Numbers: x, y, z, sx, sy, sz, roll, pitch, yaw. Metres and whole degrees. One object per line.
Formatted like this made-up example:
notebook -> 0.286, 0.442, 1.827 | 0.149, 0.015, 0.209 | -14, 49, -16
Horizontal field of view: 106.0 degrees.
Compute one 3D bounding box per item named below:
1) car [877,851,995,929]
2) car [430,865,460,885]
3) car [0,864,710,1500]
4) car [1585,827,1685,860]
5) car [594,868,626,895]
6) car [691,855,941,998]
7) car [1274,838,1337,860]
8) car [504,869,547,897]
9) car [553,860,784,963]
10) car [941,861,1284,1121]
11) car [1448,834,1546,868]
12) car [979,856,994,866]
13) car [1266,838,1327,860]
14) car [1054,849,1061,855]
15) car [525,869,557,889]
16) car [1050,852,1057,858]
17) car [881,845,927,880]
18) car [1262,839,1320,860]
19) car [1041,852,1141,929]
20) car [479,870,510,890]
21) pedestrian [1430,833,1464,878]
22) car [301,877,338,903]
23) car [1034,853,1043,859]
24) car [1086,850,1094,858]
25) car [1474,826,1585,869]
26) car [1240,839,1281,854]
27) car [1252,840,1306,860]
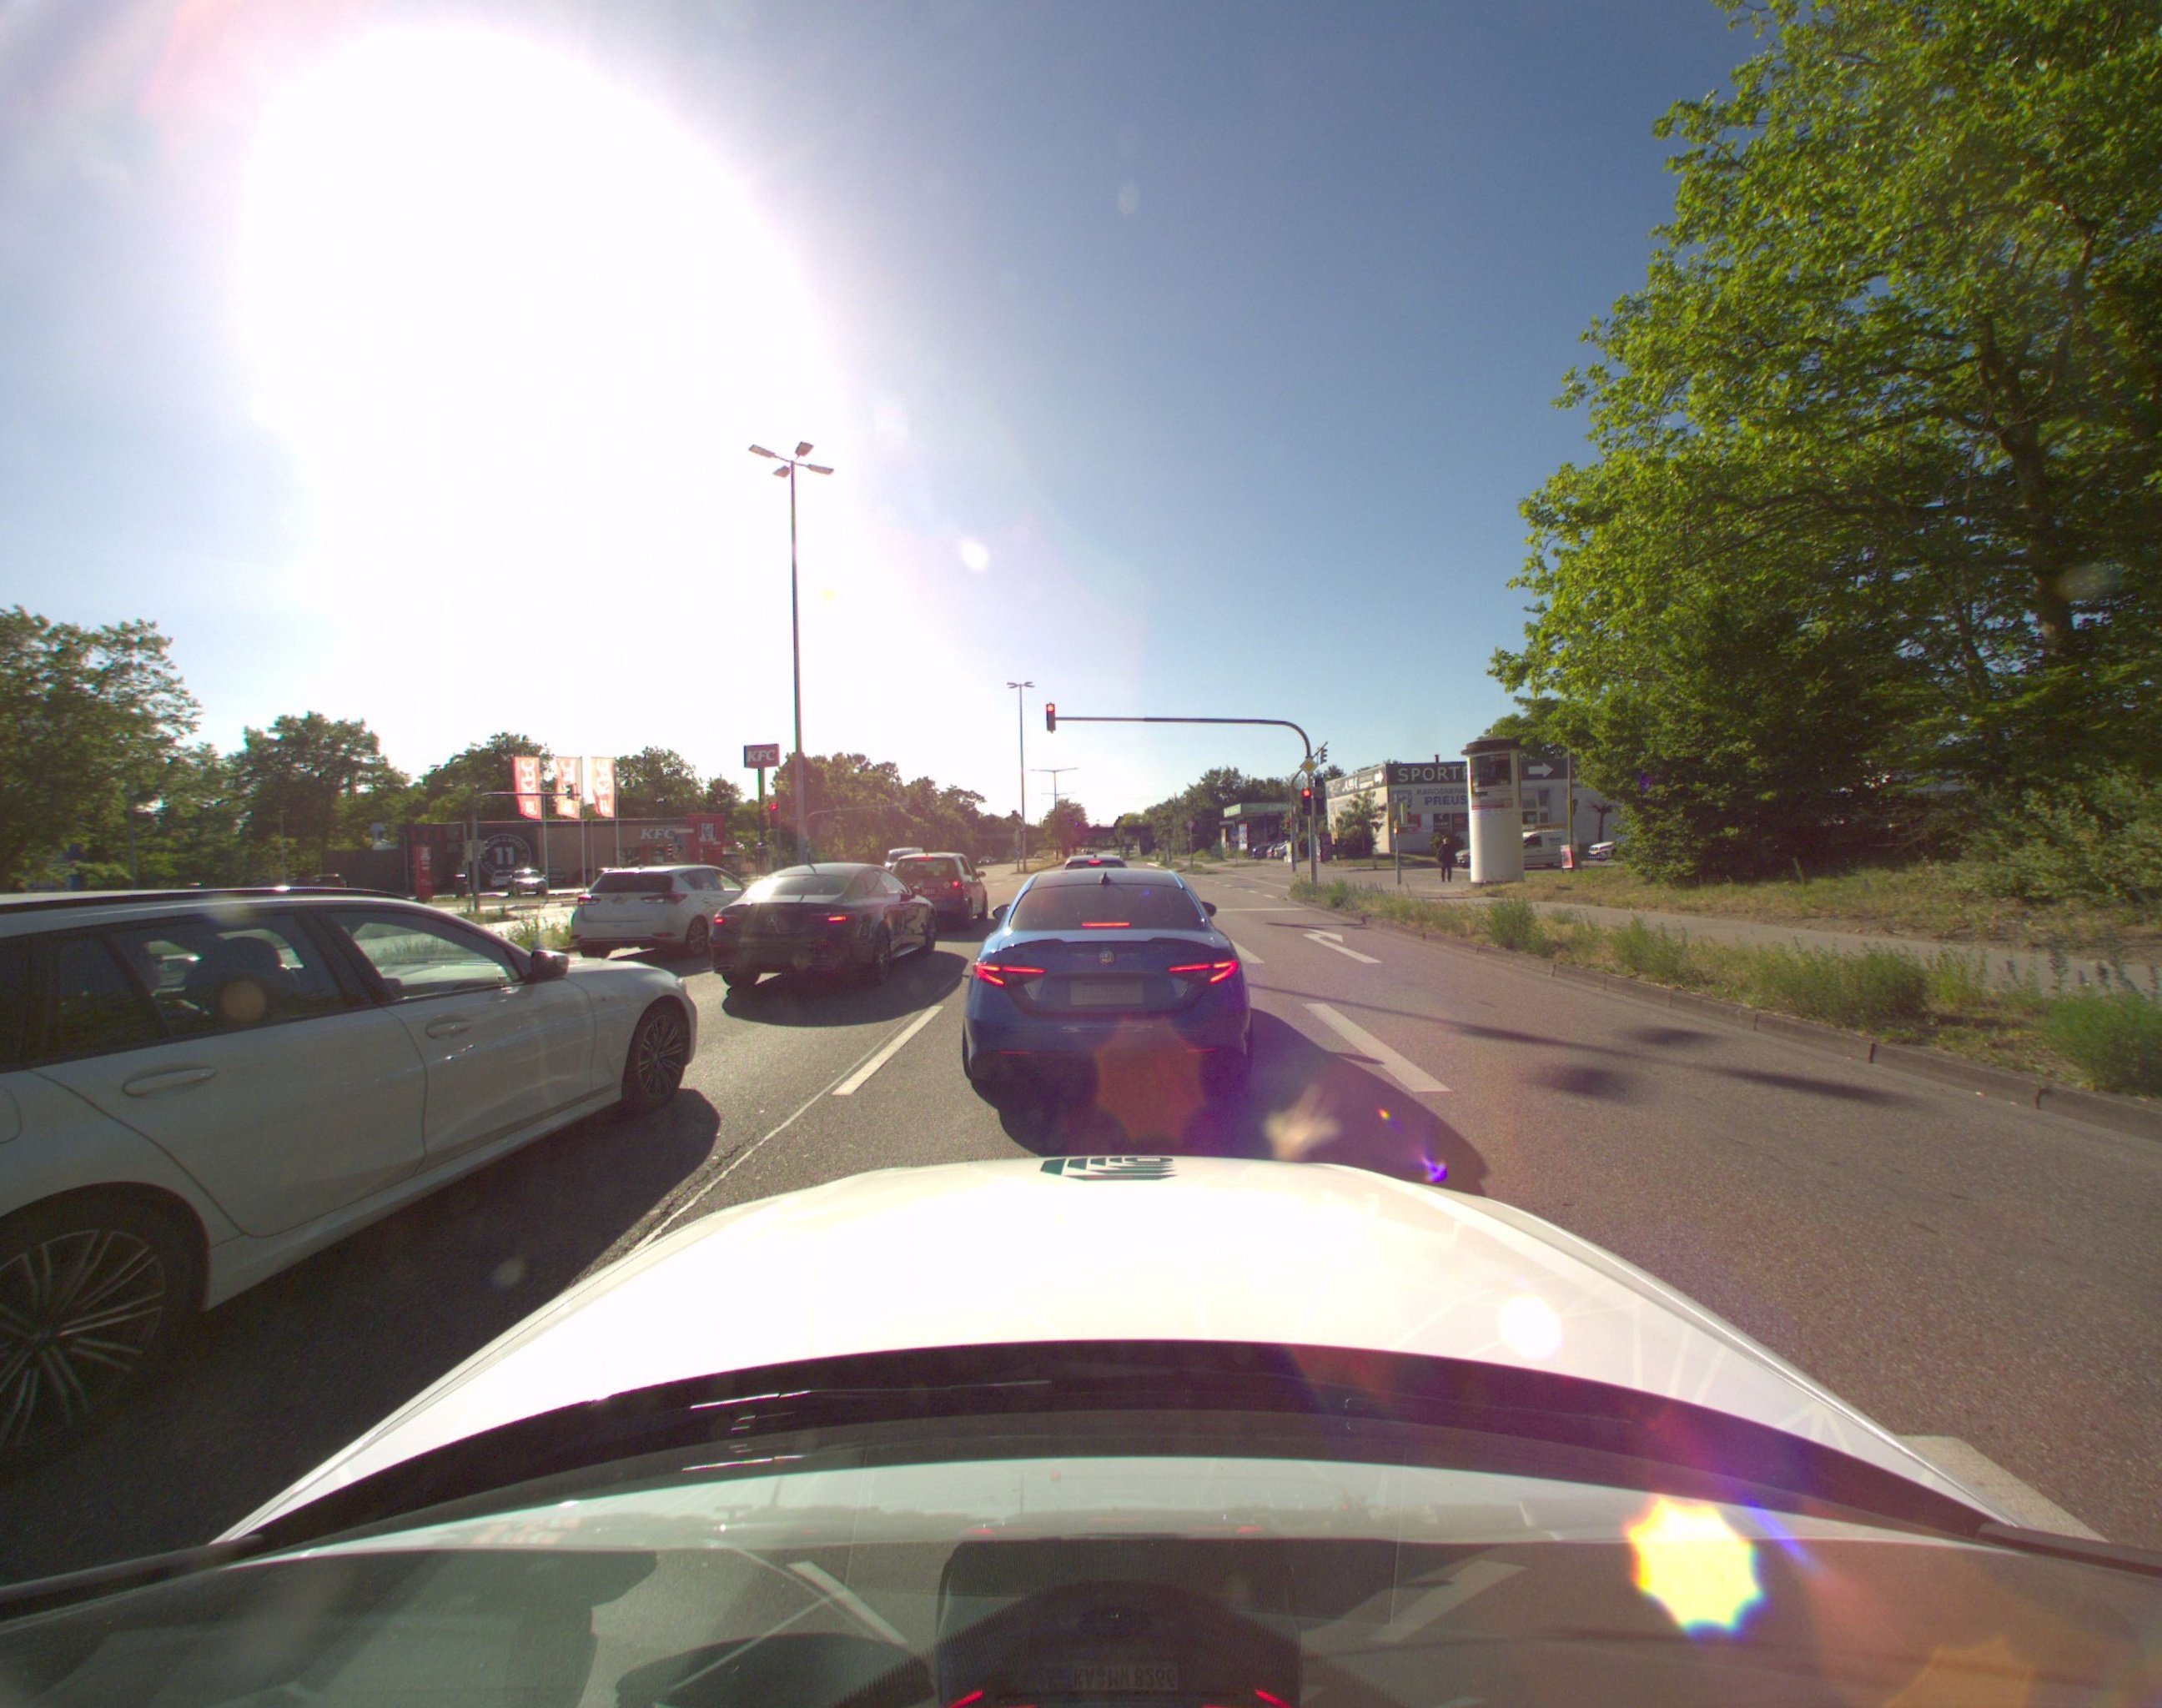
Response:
car -> -3.026, 0.715, 17.903 | 1.753, 1.490, 4.403 | 0, -1, 1
car -> -47.642, 1.563, 60.978 | 1.670, 1.471, 3.872 | 0, -1, -40
car -> -3.428, 0.799, 3.295 | 1.779, 1.490, 4.403 | 0, -1, 1
car -> 29.063, -0.535, 42.797 | 4.028, 1.490, 1.782 | -3, 0, -1
car -> -33.671, 1.933, 58.329 | 1.920, 1.752, 4.315 | 0, -1, -29
car -> -3.171, 0.780, 10.800 | 1.790, 1.490, 4.476 | 0, -1, 1
car -> 17.699, -0.418, 64.314 | 4.470, 1.454, 1.860 | -4, 0, 3
car -> -37.340, 1.938, 54.850 | 2.005, 1.765, 4.315 | 0, -1, -29
car -> -6.766, 0.853, 13.936 | 1.753, 1.490, 4.197 | 0, -1, 1
car -> 0.206, 0.773, 6.705 | 1.889, 1.418, 4.403 | 0, 0, 1
car -> 21.764, -0.193, 42.705 | 4.273, 1.549, 1.765 | -3, 1, 0
car -> -15.315, 1.046, 132.012 | 1.752, 1.490, 4.480 | -3, 0, 2
car -> 17.704, -0.405, 67.094 | 4.470, 1.454, 1.860 | -4, 0, 3
car -> -6.265, -0.432, 216.915 | 1.752, 1.490, 3.839 | -3, 0, 2
car -> -43.150, 1.956, 65.048 | 1.670, 1.471, 3.872 | 0, -1, -40
car -> -8.514, 0.276, 249.048 | 1.752, 1.490, 4.480 | -3, 0, 2
car -> -13.752, 0.620, 63.711 | 2.015, 2.447, 5.823 | -5, 0, 1
car -> 17.981, -0.376, 69.843 | 4.470, 1.454, 1.860 | -4, 0, 3
car -> 0.216, 0.694, 17.348 | 1.844, 1.418, 4.403 | 0, 0, 1
car -> -45.642, 2.024, 63.394 | 1.670, 1.471, 3.872 | 0, -1, -40
pedestrian -> 14.216, 0.068, 31.662 | 0.922, 1.735, 0.939 | 0, -1, 1
car -> -52.375, 2.462, 56.083 | 1.670, 1.673, 3.897 | 0, -1, -40
car -> -10.256, 0.499, 197.654 | 1.752, 1.490, 4.480 | -3, 0, 2
car -> 2.334, 0.037, 202.114 | 1.884, 1.816, 4.001 | 0, -1, 2
car -> 21.620, -0.336, 39.371 | 4.367, 1.801, 1.765 | -3, 1, 0
car -> 21.382, -0.872, 97.006 | 4.532, 1.490, 1.766 | -4, 0, 3
car -> 17.940, -0.347, 73.897 | 4.470, 1.454, 1.860 | -4, 0, 3
